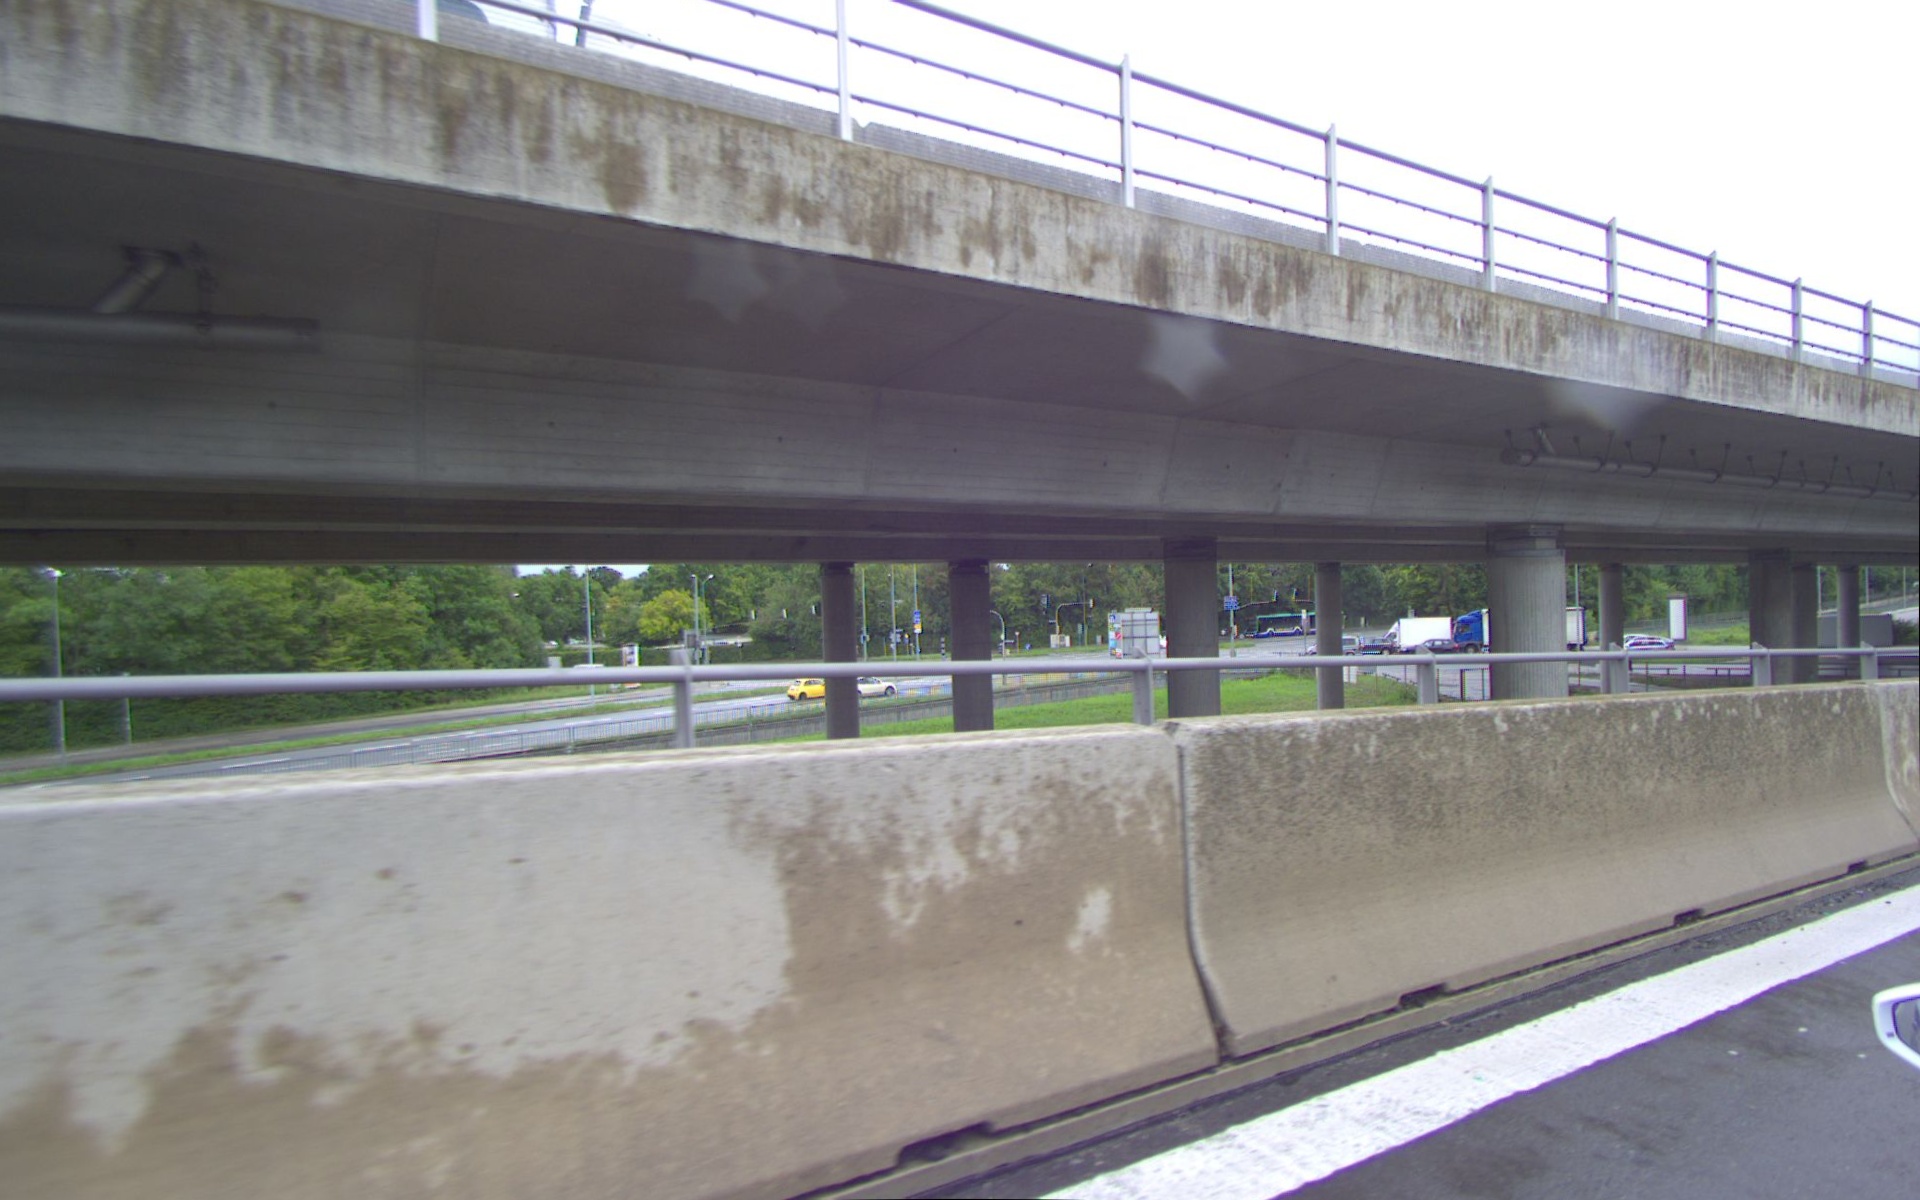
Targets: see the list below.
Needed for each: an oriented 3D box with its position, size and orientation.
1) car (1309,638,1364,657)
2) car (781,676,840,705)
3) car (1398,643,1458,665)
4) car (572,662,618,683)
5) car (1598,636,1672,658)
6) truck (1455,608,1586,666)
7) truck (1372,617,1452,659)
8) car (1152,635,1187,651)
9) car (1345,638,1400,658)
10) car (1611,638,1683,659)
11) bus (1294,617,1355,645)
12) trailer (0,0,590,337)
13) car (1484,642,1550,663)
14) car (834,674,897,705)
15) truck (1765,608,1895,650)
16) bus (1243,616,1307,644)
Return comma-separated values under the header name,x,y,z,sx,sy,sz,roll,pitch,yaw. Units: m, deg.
name,x,y,z,sx,sy,sz,roll,pitch,yaw
car,33.075,4.164,88.237,4.503,1.627,1.974,0,-1,23
car,-11.003,6.654,74.129,3.964,1.640,1.828,-1,3,-38
car,39.567,4.556,84.989,4.503,1.604,1.974,2,0,24
car,-39.286,7.810,108.100,4.471,2.040,1.999,0,-1,25
car,52.854,3.665,78.761,4.503,1.604,1.974,-1,-1,23
truck,47.125,3.093,84.826,9.422,4.652,2.797,-1,-1,26
truck,41.195,3.464,91.662,6.519,3.728,2.797,-1,-1,26
car,24.554,5.030,117.750,3.961,1.728,1.781,0,-2,-36
car,36.850,4.270,89.799,4.503,1.627,1.974,0,-1,23
car,55.365,3.901,81.036,4.505,1.604,1.973,-1,-1,26
bus,51.831,4.382,142.746,9.792,3.750,2.214,2,0,-29
trailer,-10.553,-5.014,8.208,13.904,3.342,2.642,-1,1,-33
car,45.561,4.288,82.237,4.503,1.604,1.974,-1,-1,23
car,-6.842,6.473,72.951,4.327,1.773,1.790,-1,3,-38
truck,65.596,2.160,75.933,7.100,3.016,2.257,1,-1,28
bus,43.301,4.137,137.976,9.792,3.750,2.214,2,0,-29
